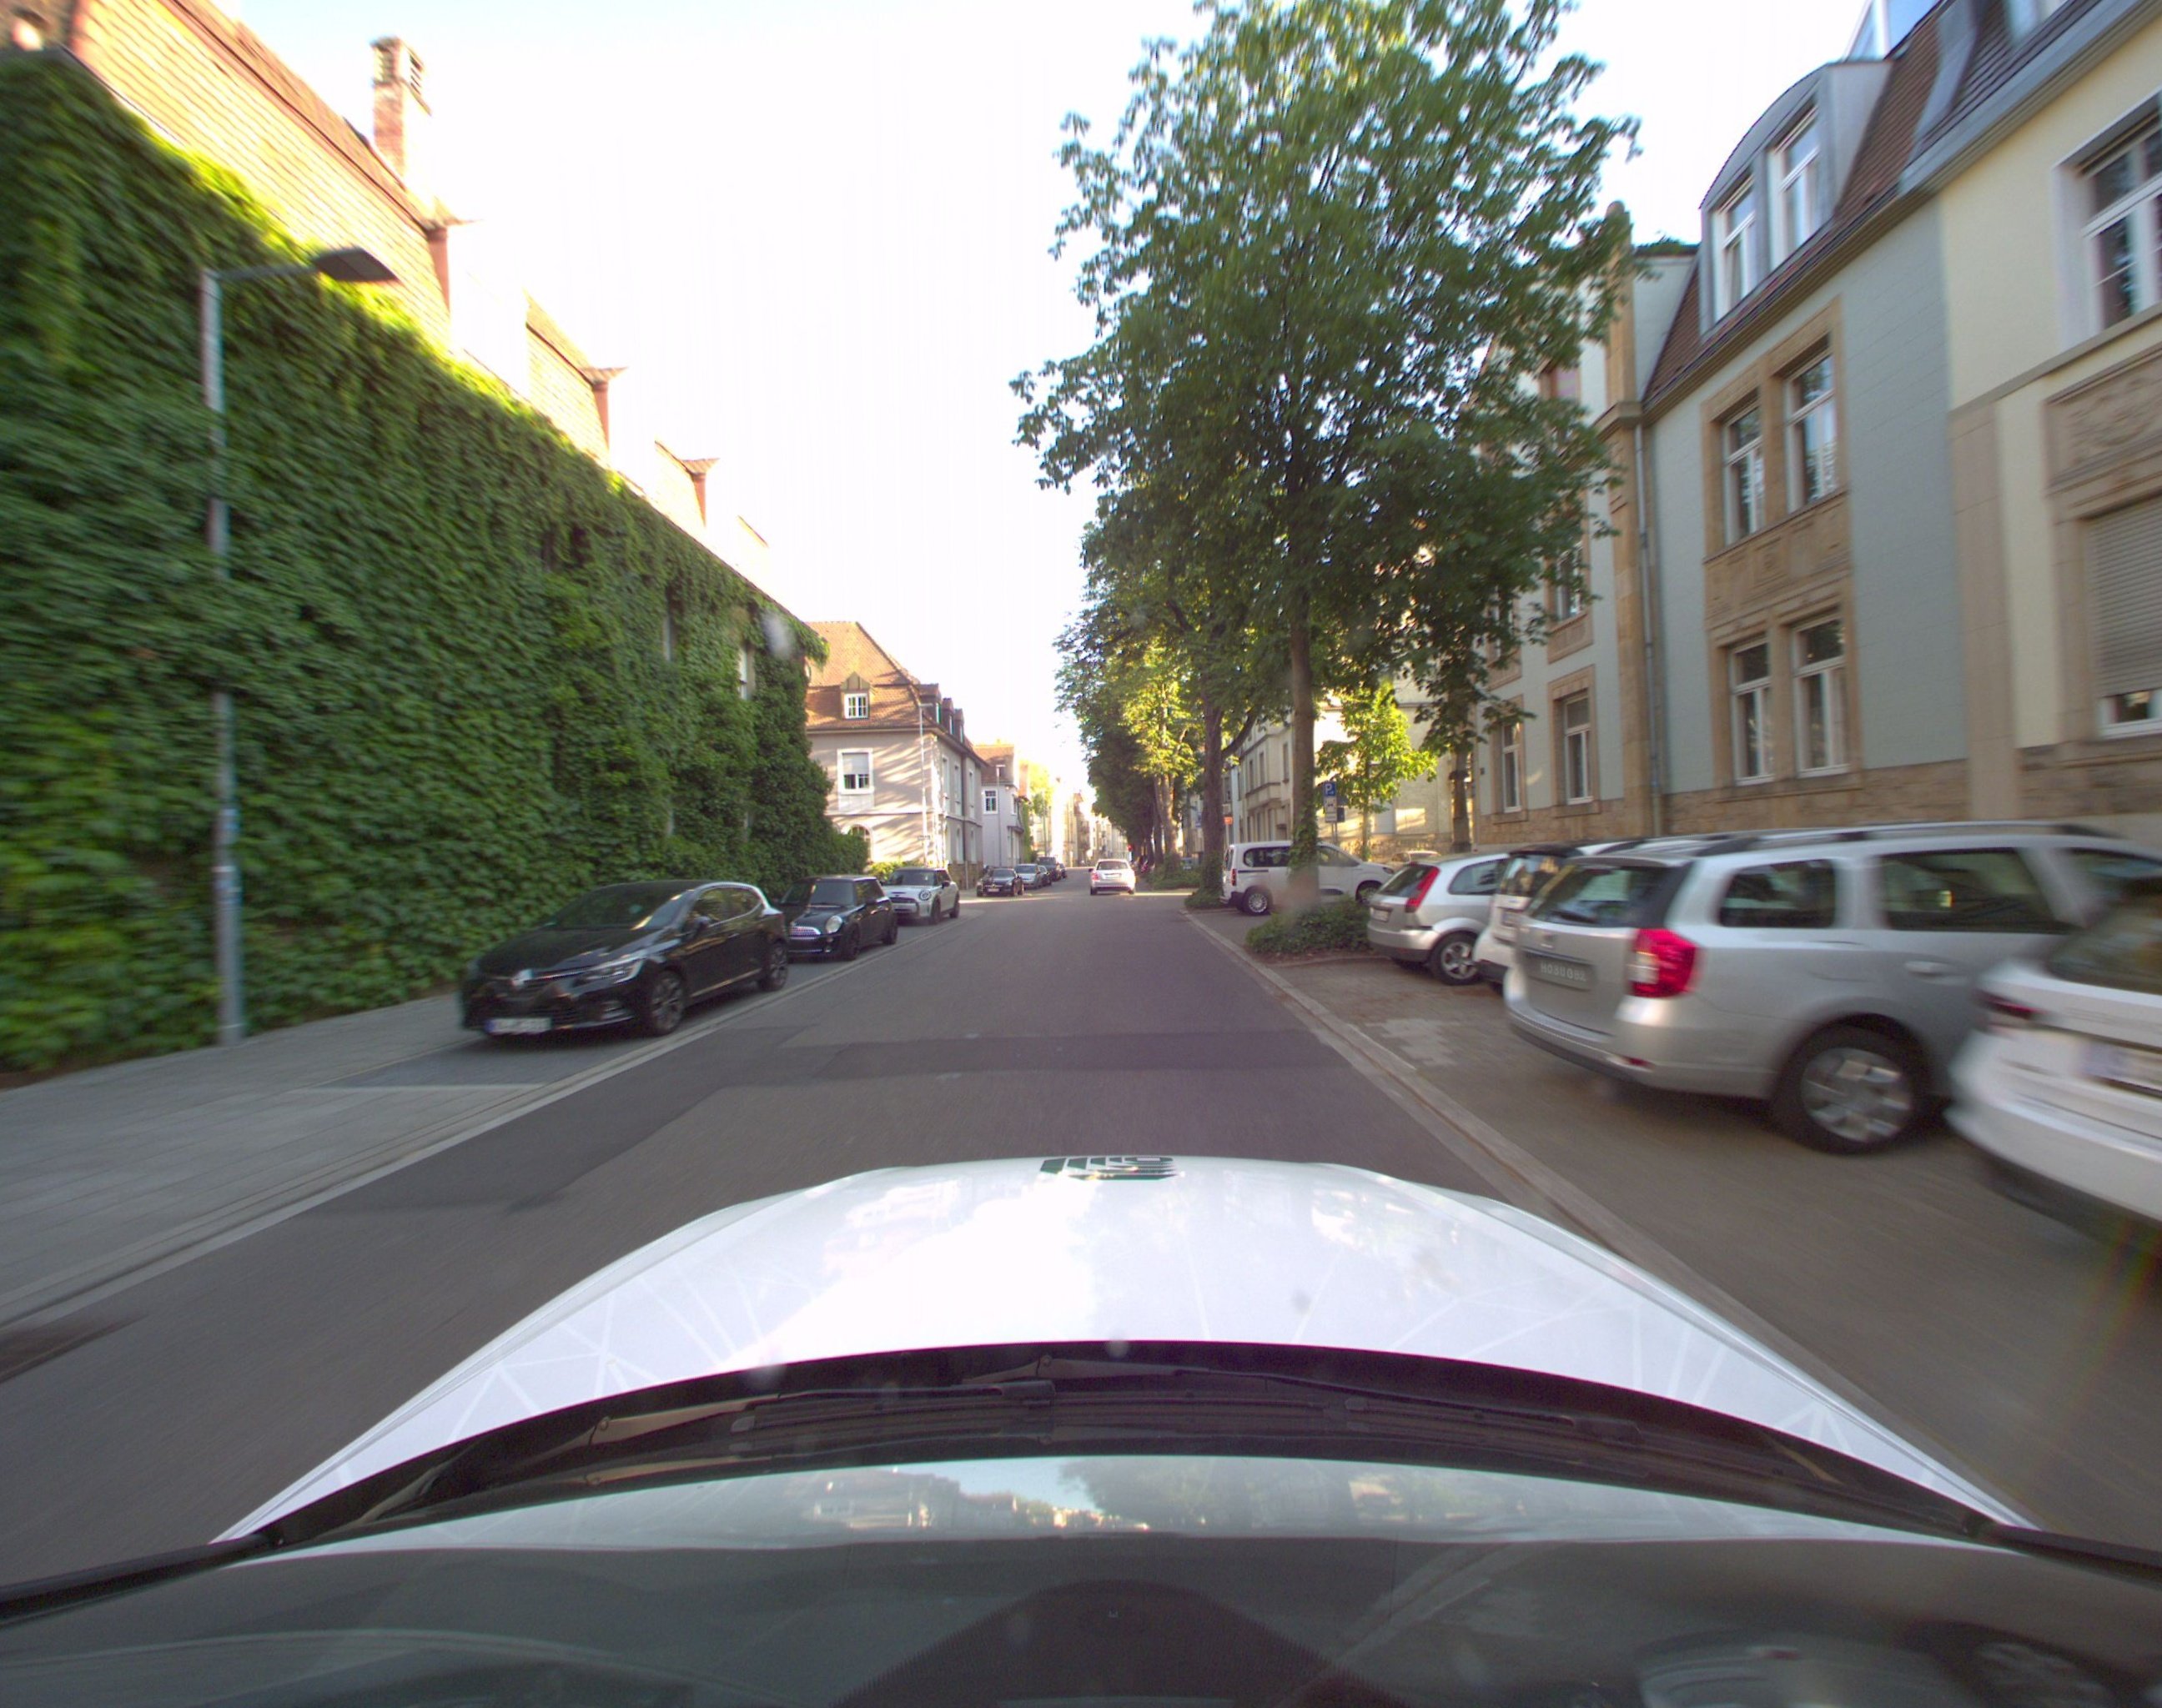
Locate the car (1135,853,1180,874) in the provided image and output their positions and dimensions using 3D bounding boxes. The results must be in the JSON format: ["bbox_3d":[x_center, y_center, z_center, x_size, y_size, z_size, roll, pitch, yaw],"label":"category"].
[{"bbox_3d":[7.671,0.930,81.872,4.206,1.896,1.905,-3,-1,-1],"label":"car"}]

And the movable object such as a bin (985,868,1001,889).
[{"bbox_3d":[-5.746,1.587,53.104,0.719,1.283,2.097,-2,0,2],"label":"movable object such as a bin"}]

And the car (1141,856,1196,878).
[{"bbox_3d":[6.990,1.002,65.279,4.171,1.475,1.854,-4,-1,4],"label":"car"}]

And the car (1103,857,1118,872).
[{"bbox_3d":[3.324,1.196,91.493,1.617,1.570,3.683,-2,0,3],"label":"car"}]

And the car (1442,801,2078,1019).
[{"bbox_3d":[5.939,0.467,7.572,4.298,1.535,1.829,-3,0,1],"label":"car"}]

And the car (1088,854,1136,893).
[{"bbox_3d":[1.276,0.771,32.929,1.777,1.437,3.853,-1,-1,3],"label":"car"}]

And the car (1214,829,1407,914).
[{"bbox_3d":[5.722,0.436,20.745,4.298,1.807,2.001,-3,-1,1],"label":"car"}]

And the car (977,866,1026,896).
[{"bbox_3d":[-3.760,1.256,39.084,1.646,1.324,4.050,-1,-1,4],"label":"car"}]

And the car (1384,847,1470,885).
[{"bbox_3d":[14.260,0.453,33.820,1.776,1.409,4.471,-2,0,2],"label":"car"}]

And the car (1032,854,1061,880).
[{"bbox_3d":[-2.672,1.024,64.364,1.975,1.947,4.852,-1,0,1],"label":"car"}]

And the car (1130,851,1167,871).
[{"bbox_3d":[8.465,0.924,101.971,4.375,2.364,1.999,-2,0,-1],"label":"car"}]

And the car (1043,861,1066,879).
[{"bbox_3d":[-2.279,1.378,70.960,1.647,1.447,4.239,0,0,2],"label":"car"}]

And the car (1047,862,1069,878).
[{"bbox_3d":[-2.075,1.450,75.440,1.688,1.447,4.360,-1,0,2],"label":"car"}]

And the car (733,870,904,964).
[{"bbox_3d":[-4.465,1.009,14.438,1.680,1.379,3.723,-1,0,2],"label":"car"}]

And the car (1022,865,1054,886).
[{"bbox_3d":[-2.769,1.400,53.241,1.524,1.319,4.232,-1,-1,5],"label":"car"}]

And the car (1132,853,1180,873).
[{"bbox_3d":[8.181,1.008,89.124,5.038,1.989,2.071,-2,0,-1],"label":"car"}]

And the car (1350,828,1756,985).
[{"bbox_3d":[5.346,0.569,9.614,3.734,1.463,1.735,-3,0,1],"label":"car"}]

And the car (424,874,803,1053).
[{"bbox_3d":[-4.655,0.975,8.923,1.643,1.421,4.101,-1,0,2],"label":"car"}]

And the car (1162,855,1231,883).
[{"bbox_3d":[6.822,0.872,48.315,3.784,1.438,1.747,-3,-1,-3],"label":"car"}]

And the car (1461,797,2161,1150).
[{"bbox_3d":[4.658,0.535,4.645,4.126,1.535,1.688,-3,-1,3],"label":"car"}]

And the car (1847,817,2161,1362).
[{"bbox_3d":[4.818,0.542,2.115,3.832,1.462,1.690,-3,-1,6],"label":"car"}]

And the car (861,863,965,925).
[{"bbox_3d":[-4.327,0.993,21.569,1.697,1.460,3.921,-1,0,3],"label":"car"}]

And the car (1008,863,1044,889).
[{"bbox_3d":[-3.161,1.251,47.681,1.647,1.445,3.963,-1,0,3],"label":"car"}]

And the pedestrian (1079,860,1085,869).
[{"bbox_3d":[0.227,2.070,165.331,1.215,1.722,1.505,-1,-1,5],"label":"pedestrian"}]
